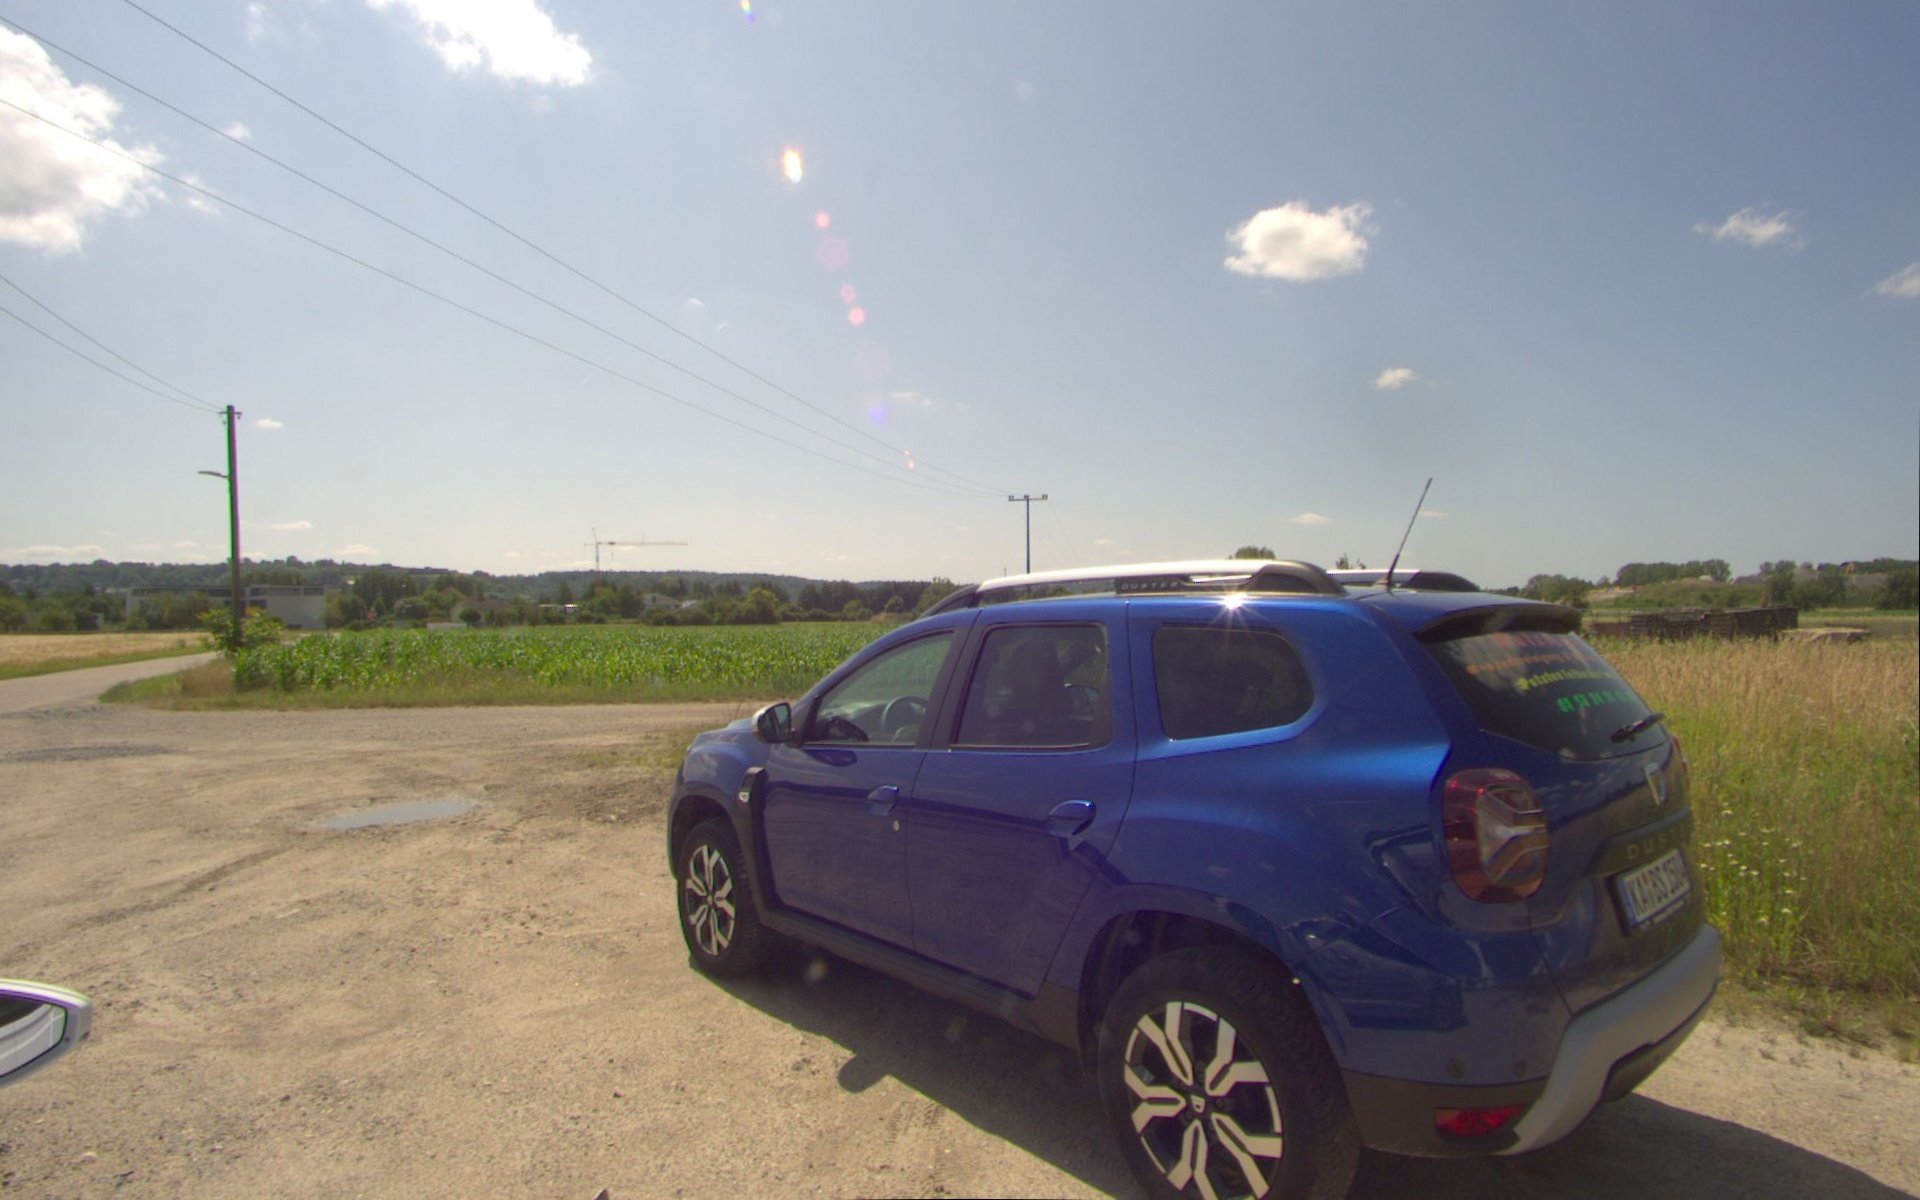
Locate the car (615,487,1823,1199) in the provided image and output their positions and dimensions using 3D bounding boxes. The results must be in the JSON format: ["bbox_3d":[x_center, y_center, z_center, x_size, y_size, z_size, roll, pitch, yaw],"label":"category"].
[{"bbox_3d":[0.374,0.738,3.991,1.844,1.682,4.421,1,-2,-40],"label":"car"}]
